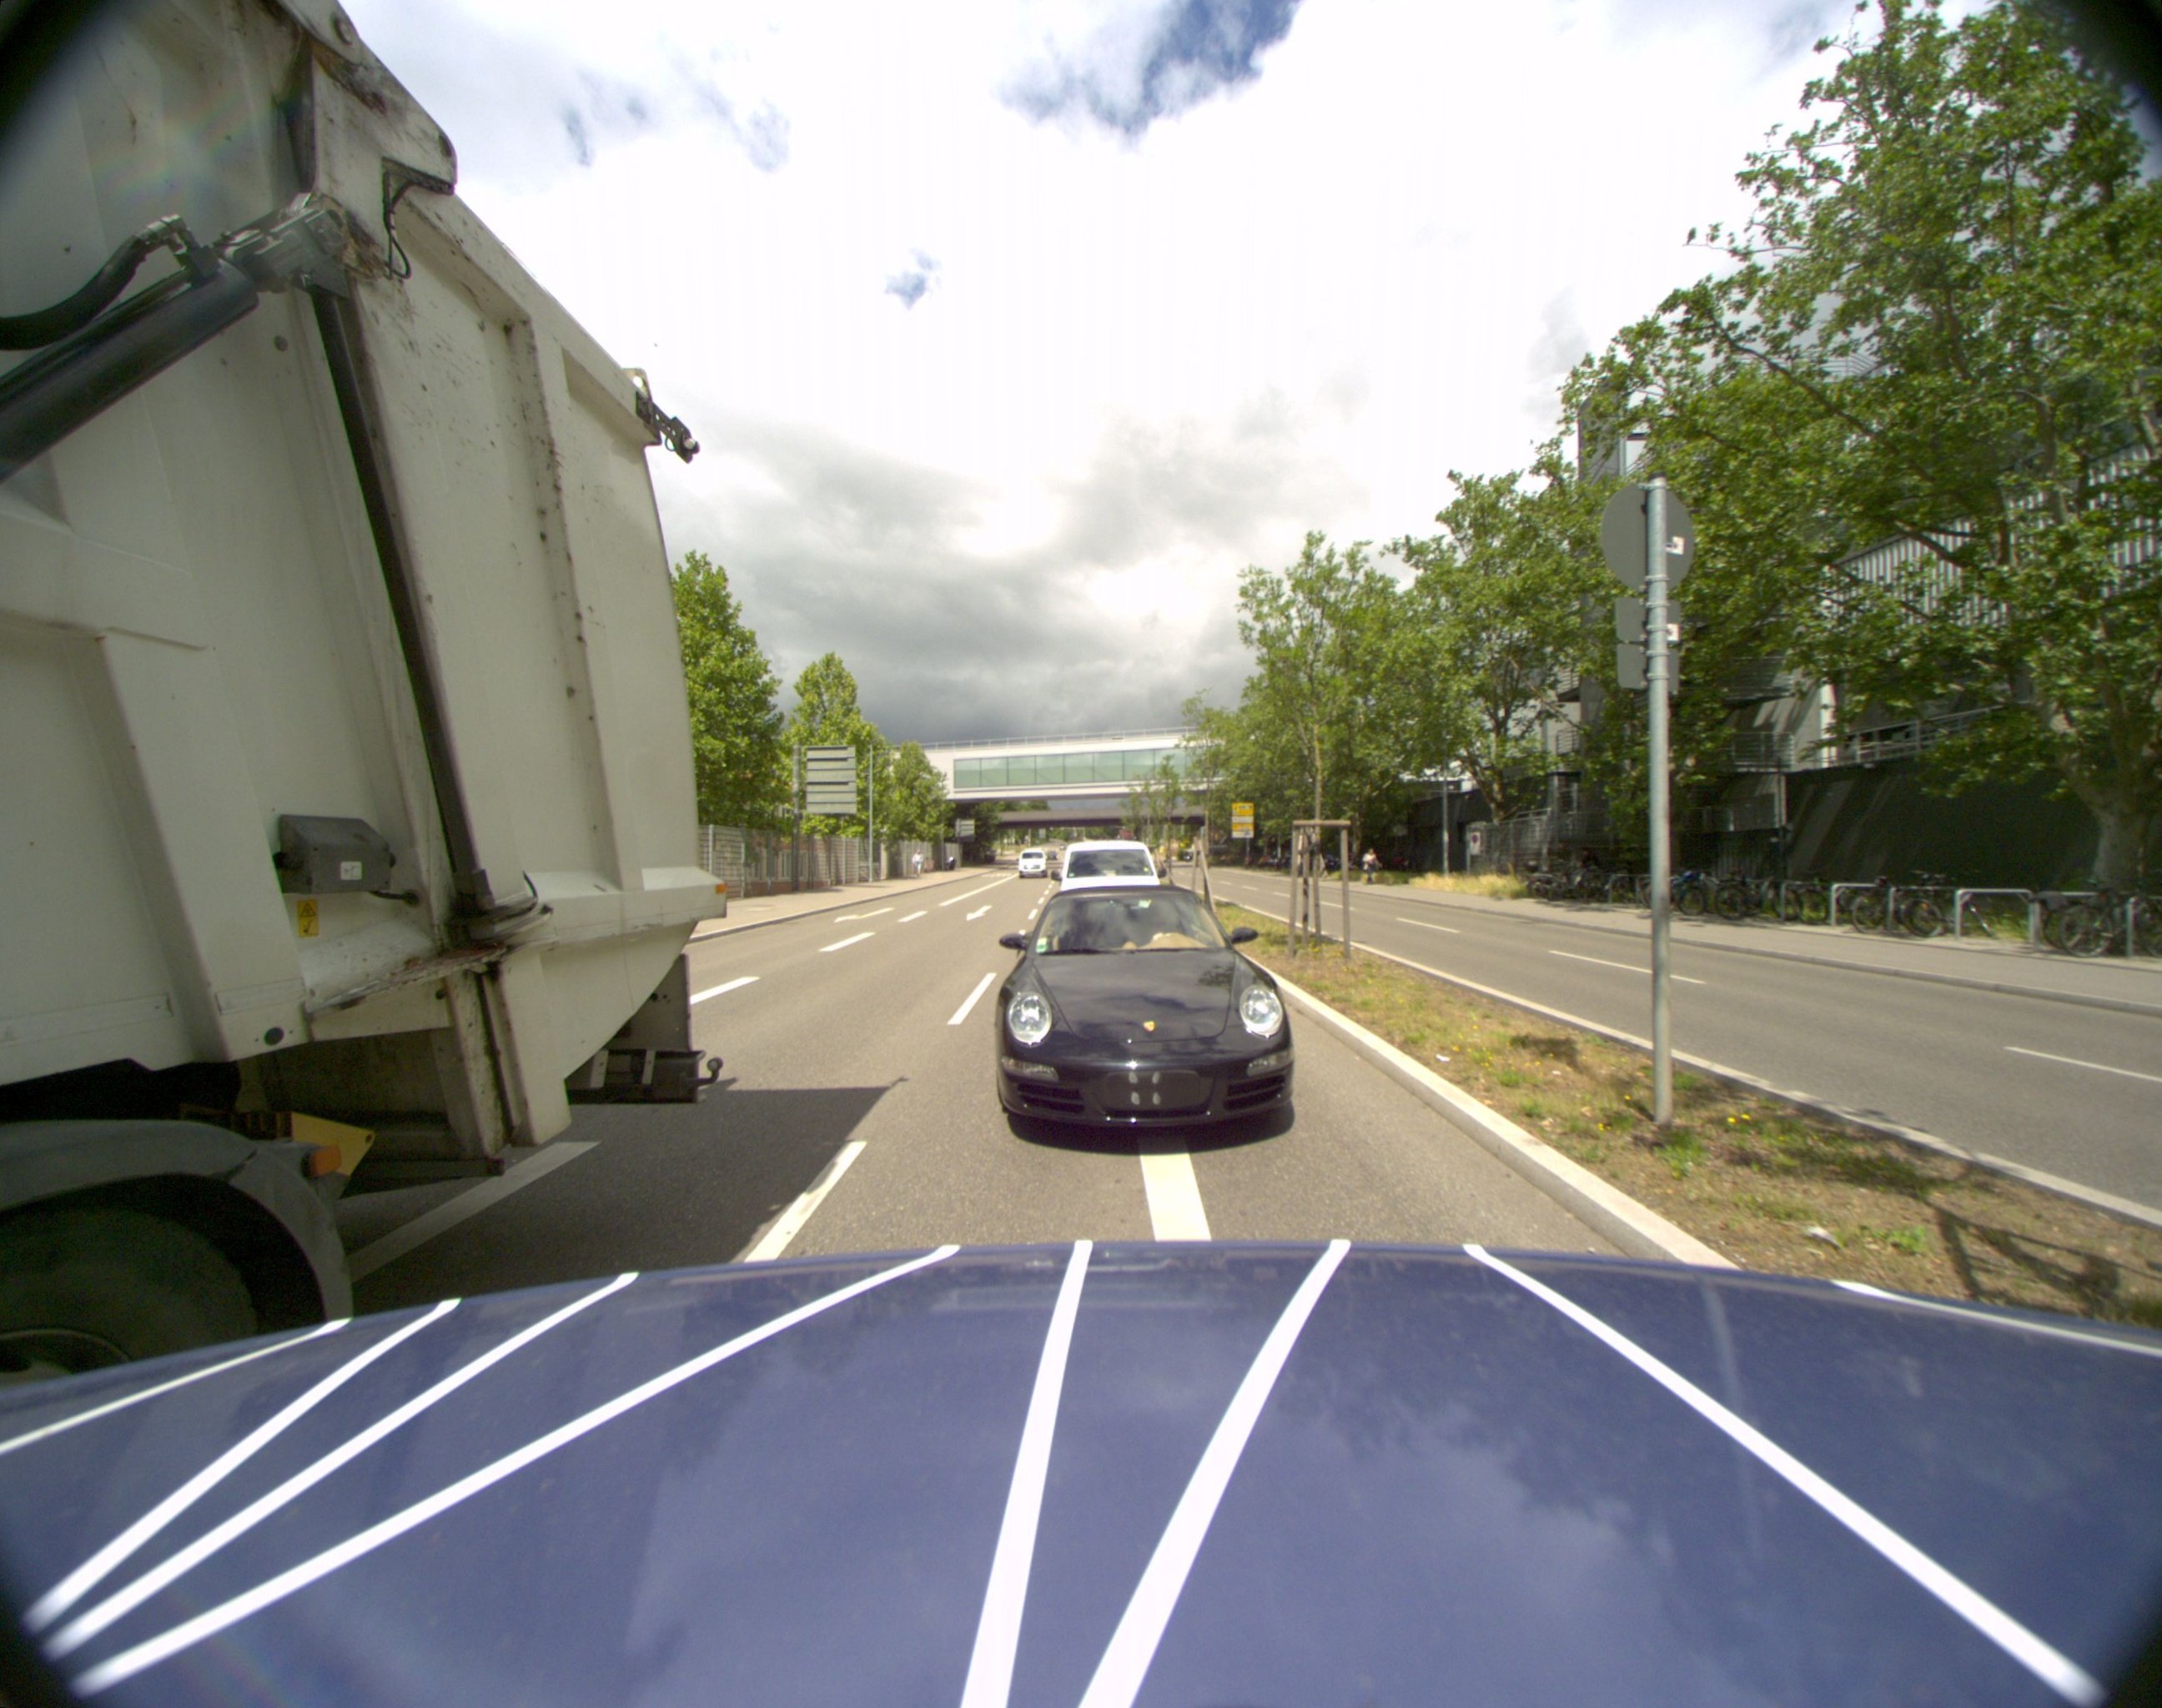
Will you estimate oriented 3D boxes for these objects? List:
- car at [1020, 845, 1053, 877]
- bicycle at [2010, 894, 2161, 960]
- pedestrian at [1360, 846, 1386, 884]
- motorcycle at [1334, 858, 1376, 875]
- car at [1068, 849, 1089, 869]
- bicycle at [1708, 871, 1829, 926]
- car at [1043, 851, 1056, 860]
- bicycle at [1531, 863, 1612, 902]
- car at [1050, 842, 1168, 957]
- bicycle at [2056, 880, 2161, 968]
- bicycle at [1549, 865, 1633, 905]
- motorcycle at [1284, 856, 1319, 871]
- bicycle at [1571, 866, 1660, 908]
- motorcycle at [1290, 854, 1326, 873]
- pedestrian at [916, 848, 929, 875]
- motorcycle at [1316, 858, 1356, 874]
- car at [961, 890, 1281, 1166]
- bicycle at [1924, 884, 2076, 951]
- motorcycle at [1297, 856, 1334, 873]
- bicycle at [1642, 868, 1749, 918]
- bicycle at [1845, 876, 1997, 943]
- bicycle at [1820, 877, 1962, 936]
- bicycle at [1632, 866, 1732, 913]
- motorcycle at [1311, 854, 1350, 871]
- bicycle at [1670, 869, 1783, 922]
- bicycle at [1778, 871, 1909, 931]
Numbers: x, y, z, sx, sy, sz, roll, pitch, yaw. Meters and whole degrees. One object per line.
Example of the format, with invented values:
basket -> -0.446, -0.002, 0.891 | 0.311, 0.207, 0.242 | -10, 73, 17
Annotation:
car -> -3.094, 0.481, 53.956 | 1.925, 2.082, 4.657 | -1, 0, 2
bicycle -> 14.966, 1.069, 11.239 | 1.993, 0.885, 0.382 | -1, 1, -1
pedestrian -> 13.171, 0.485, 34.315 | 0.900, 1.710, 0.673 | -1, 1, 1
motorcycle -> 15.272, 0.676, 42.409 | 2.133, 0.893, 0.534 | -1, 0, 1
car -> -0.176, 0.441, 72.277 | 1.862, 1.800, 4.357 | -3, 0, 1
bicycle -> 14.511, 0.941, 16.059 | 2.129, 1.104, 0.382 | -1, 1, 3
car -> -5.095, 0.247, 122.842 | 1.862, 1.369, 4.356 | -1, 0, -1
bicycle -> 14.760, 0.863, 22.861 | 2.129, 1.104, 0.382 | -1, 1, 3
car -> 0.490, 0.731, 14.710 | 1.862, 1.800, 4.906 | -1, 0, 1
bicycle -> 14.363, 0.926, 10.236 | 1.993, 1.121, 0.382 | -1, 1, -1
bicycle -> 14.764, 0.899, 22.020 | 2.129, 1.104, 0.382 | -1, 1, 3
motorcycle -> 14.608, 0.631, 50.318 | 2.133, 0.963, 0.534 | -1, 0, 1
bicycle -> 14.834, 0.912, 21.096 | 2.129, 1.104, 0.382 | -1, 1, 3
motorcycle -> 14.643, 0.621, 49.023 | 2.133, 1.131, 0.534 | -1, 0, 1
pedestrian -> -11.486, 0.541, 55.109 | 0.739, 1.901, 0.658 | -2, 1, -2
motorcycle -> 14.987, 0.695, 44.719 | 2.133, 0.880, 0.534 | -1, 0, 1
car -> 0.243, 1.037, 6.027 | 1.710, 1.280, 3.806 | -1, 0, 1
bicycle -> 14.763, 1.011, 12.218 | 1.993, 0.992, 0.382 | -1, 1, -1
motorcycle -> 14.626, 0.661, 47.484 | 2.133, 0.963, 0.534 | -1, 0, 1
bicycle -> 14.516, 0.921, 17.970 | 2.129, 1.104, 0.382 | -1, 1, 3
bicycle -> 14.588, 0.955, 13.219 | 2.129, 1.089, 0.382 | -1, 1, 3
bicycle -> 15.021, 0.967, 14.113 | 2.129, 1.025, 0.382 | -1, 1, 3
bicycle -> 15.076, 0.892, 19.085 | 2.129, 1.104, 0.382 | -1, 1, 3
motorcycle -> 14.989, 0.513, 45.662 | 2.133, 0.963, 0.534 | -1, 0, 1
bicycle -> 14.490, 0.930, 17.083 | 2.129, 1.104, 0.382 | -1, 1, 3
bicycle -> 15.052, 0.924, 15.019 | 2.129, 1.104, 0.382 | -1, 1, 3
